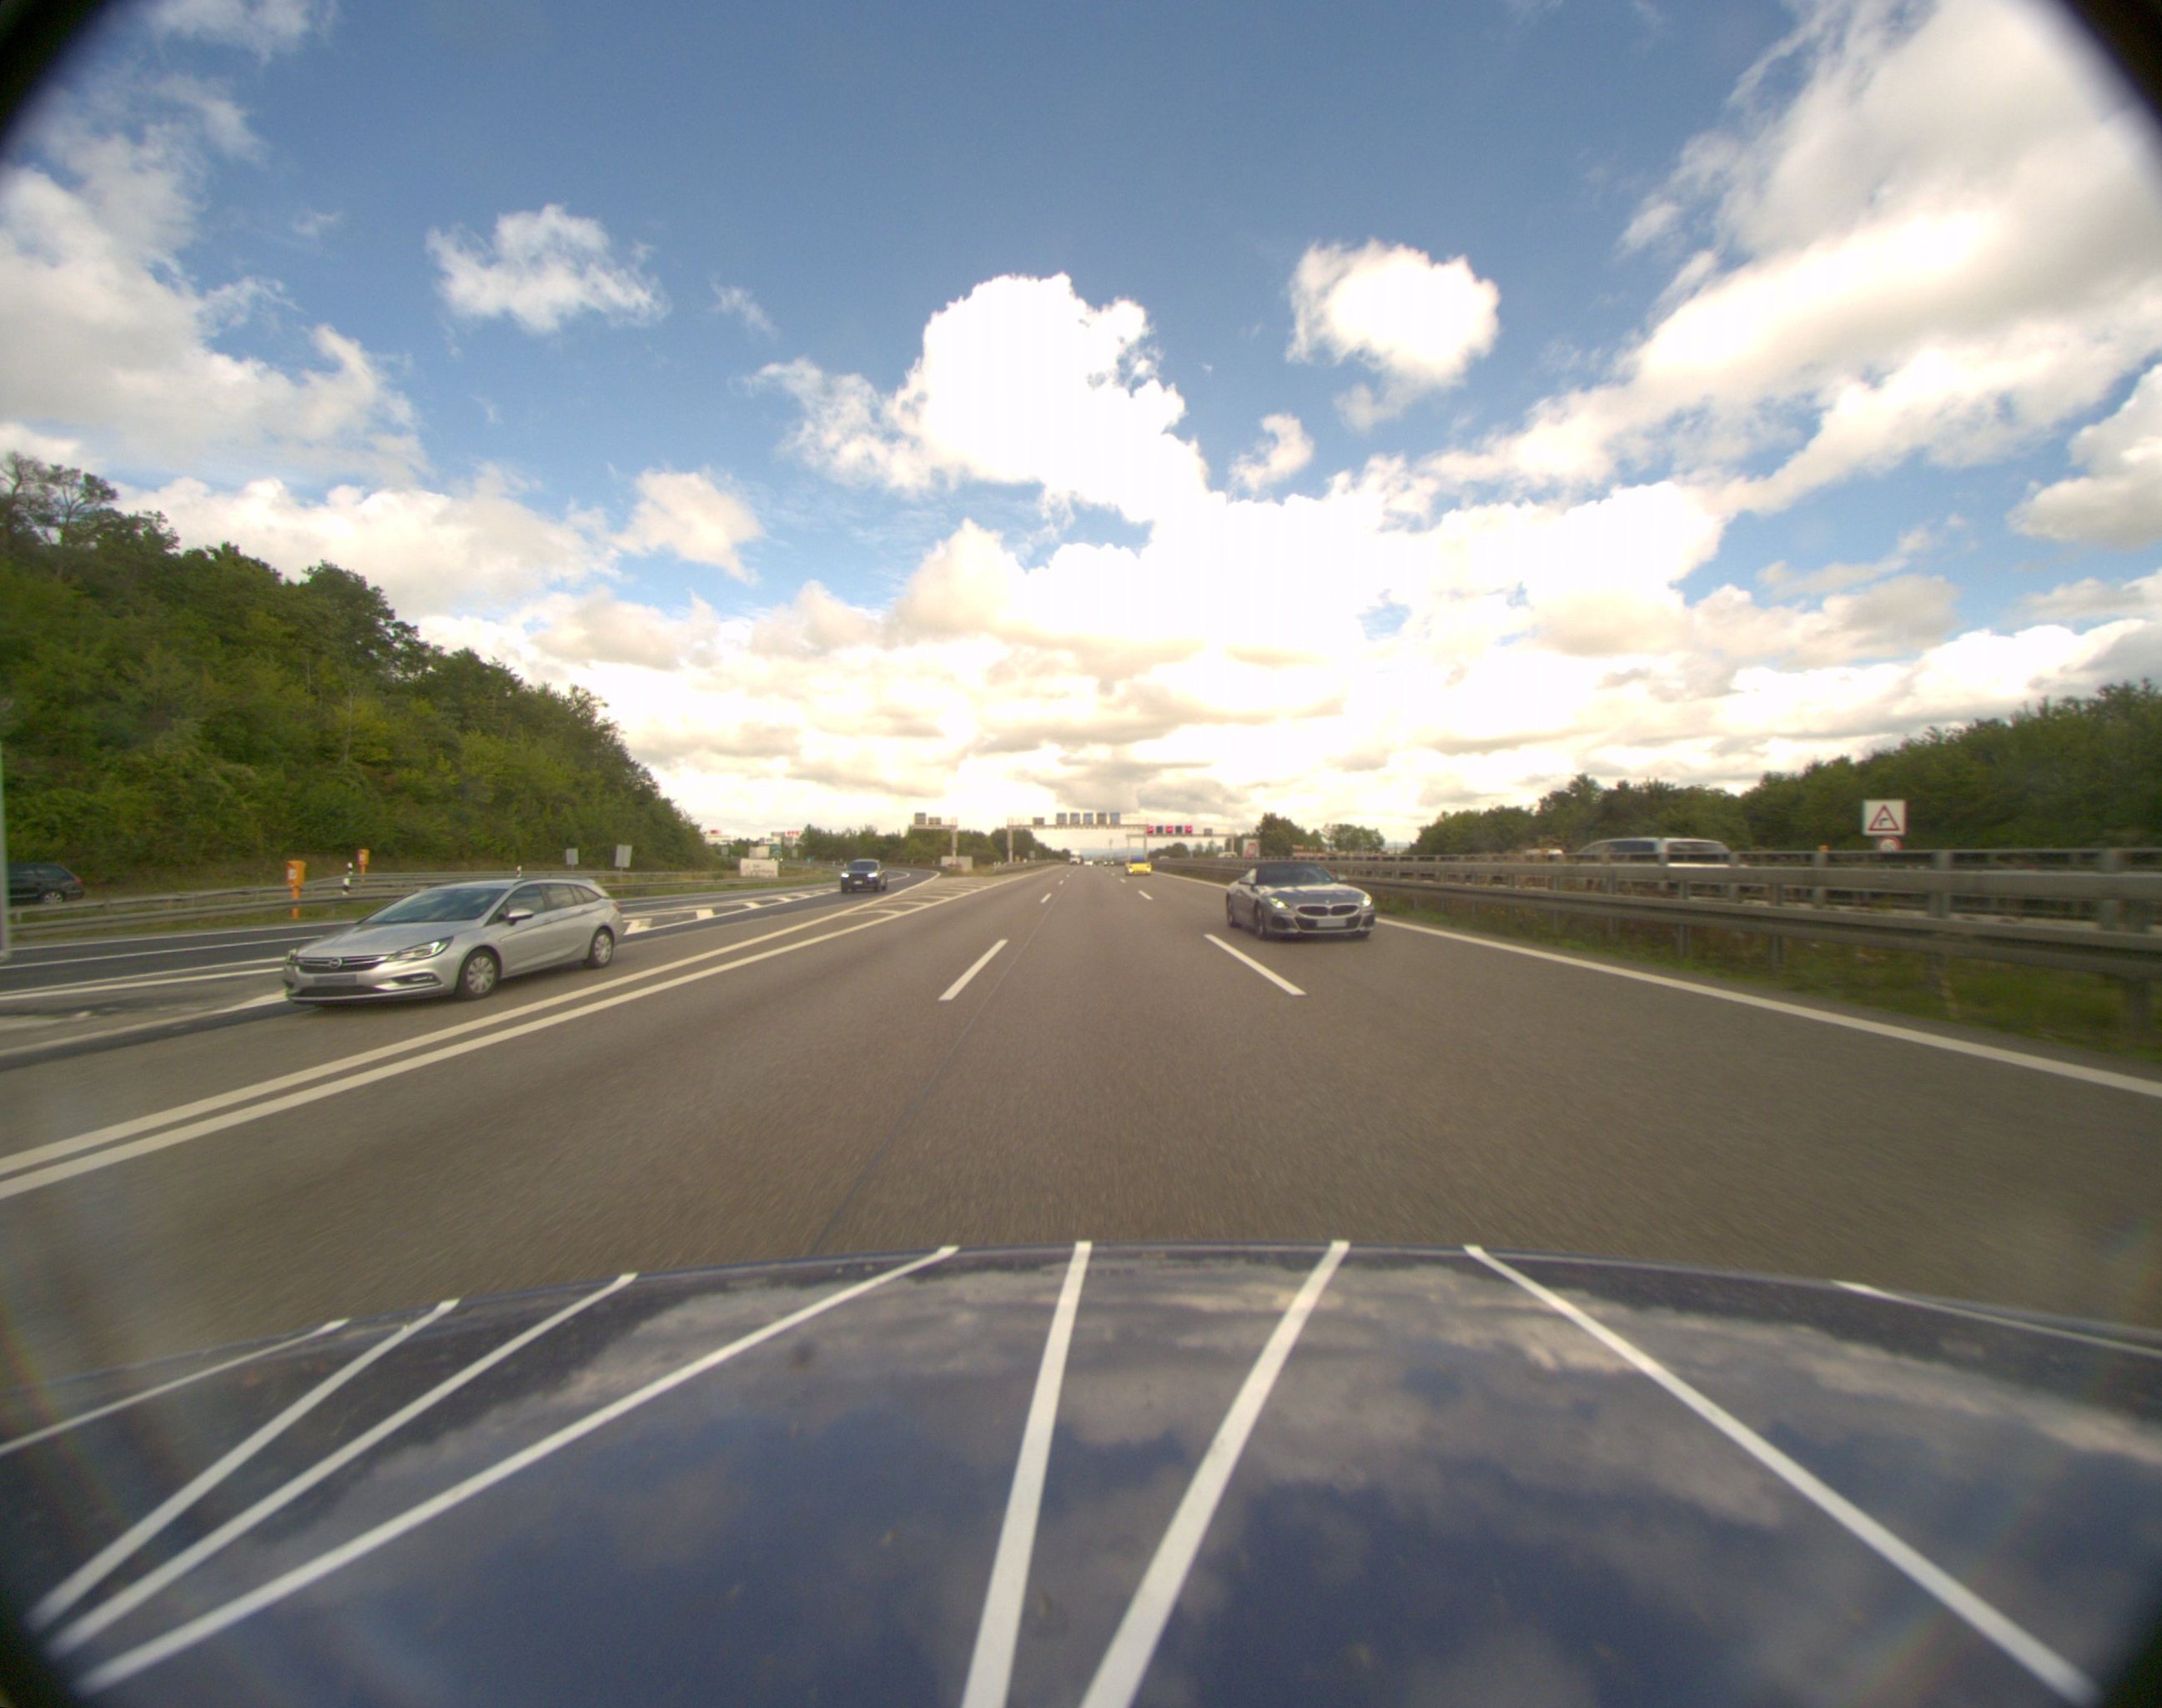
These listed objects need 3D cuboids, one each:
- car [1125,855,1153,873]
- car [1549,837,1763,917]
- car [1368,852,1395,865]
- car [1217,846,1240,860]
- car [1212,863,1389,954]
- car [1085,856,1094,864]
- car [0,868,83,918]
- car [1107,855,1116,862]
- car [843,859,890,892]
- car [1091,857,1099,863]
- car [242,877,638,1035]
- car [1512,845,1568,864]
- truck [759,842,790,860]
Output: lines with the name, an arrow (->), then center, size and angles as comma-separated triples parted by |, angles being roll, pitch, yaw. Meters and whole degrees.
car -> 4.479, 0.787, 59.255 | 1.811, 1.307, 4.247 | 1, 0, 0
car -> 12.725, 0.452, 17.193 | 1.679, 1.568, 4.173 | 0, 0, 0
car -> 40.683, 0.575, 102.865 | 1.815, 1.626, 5.009 | -1, 0, 2
car -> 17.531, -0.154, 90.570 | 1.815, 1.626, 5.008 | -1, 0, 2
car -> 3.851, 0.884, 14.318 | 1.878, 1.295, 4.942 | -1, 0, 0
car -> 1.626, 1.127, 149.434 | 1.737, 1.608, 4.000 | -1, 0, 0
car -> -32.087, 1.156, 21.738 | 1.717, 1.407, 4.167 | -1, 0, -4
car -> 6.258, 0.961, 154.533 | 1.593, 1.307, 3.978 | 1, 0, 0
car -> -11.582, 1.095, 41.309 | 1.877, 1.626, 4.855 | -2, 0, -9
car -> 3.862, 1.649, 210.399 | 1.999, 1.619, 4.429 | 0, 0, -1
car -> -8.106, 1.138, 10.344 | 1.688, 1.476, 4.614 | -1, 0, -4
car -> 38.948, 0.060, 64.611 | 1.775, 1.568, 5.011 | -1, 0, 0
truck -> -71.569, -0.688, 177.194 | 2.975, 3.775, 13.426 | -2, 0, -38
